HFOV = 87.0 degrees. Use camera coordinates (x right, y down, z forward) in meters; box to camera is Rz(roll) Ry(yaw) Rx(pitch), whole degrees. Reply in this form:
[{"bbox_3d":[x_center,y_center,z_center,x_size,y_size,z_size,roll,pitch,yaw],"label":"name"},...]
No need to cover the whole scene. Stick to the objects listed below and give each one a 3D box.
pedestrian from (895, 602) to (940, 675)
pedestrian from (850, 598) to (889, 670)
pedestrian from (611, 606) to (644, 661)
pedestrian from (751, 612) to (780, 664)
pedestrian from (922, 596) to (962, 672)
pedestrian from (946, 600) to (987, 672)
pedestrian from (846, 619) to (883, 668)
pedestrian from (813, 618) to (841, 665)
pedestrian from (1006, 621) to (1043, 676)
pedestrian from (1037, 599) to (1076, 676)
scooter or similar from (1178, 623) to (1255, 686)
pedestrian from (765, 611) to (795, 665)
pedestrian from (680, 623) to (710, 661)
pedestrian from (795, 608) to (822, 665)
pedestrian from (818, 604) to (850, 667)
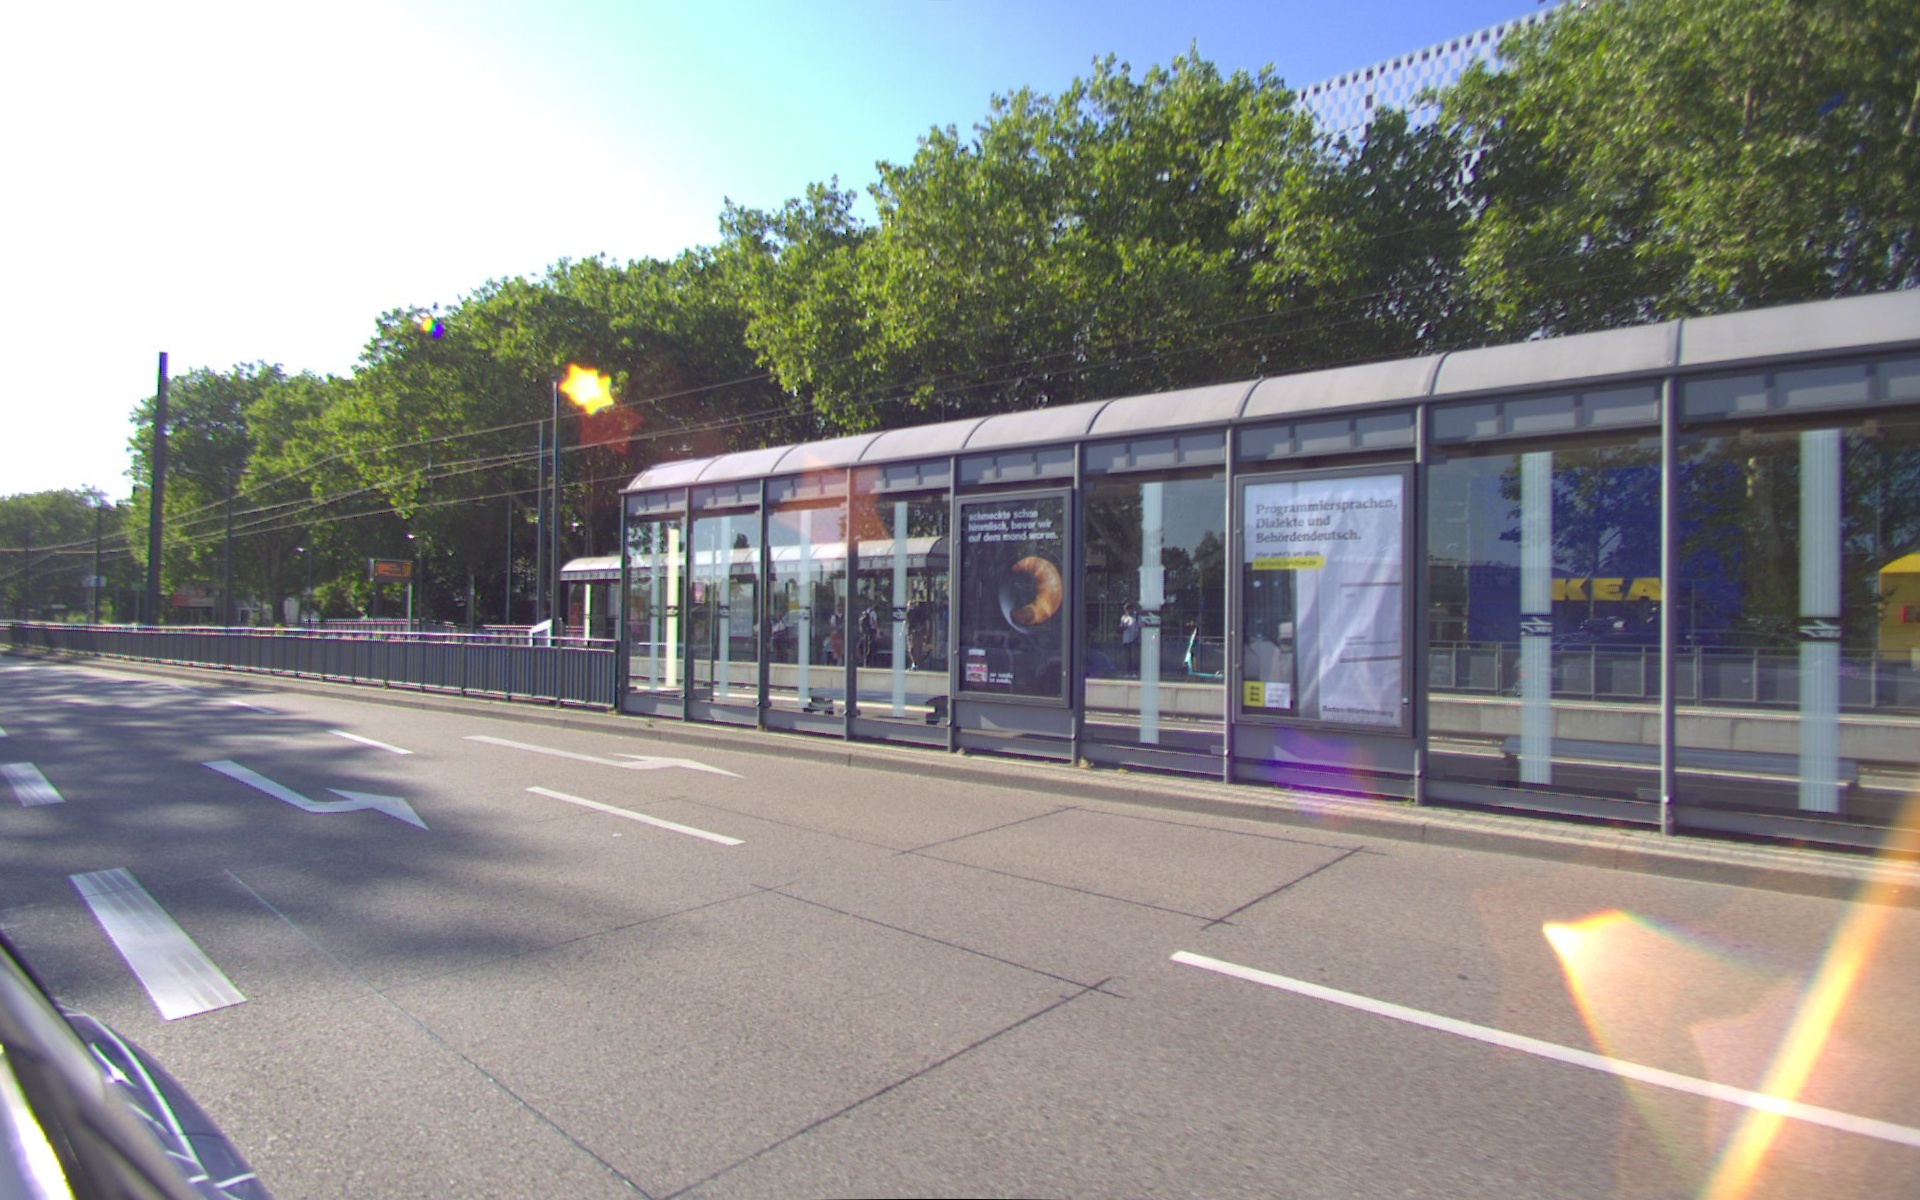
[{"bbox_3d":[-0.988,0.887,23.519,0.776,1.645,0.653,-1,0,40],"label":"pedestrian"},{"bbox_3d":[-2.265,0.845,25.328,0.684,1.755,0.647,-1,0,36],"label":"pedestrian"},{"bbox_3d":[-10.624,1.056,32.322,0.677,1.723,0.753,-1,-2,40],"label":"pedestrian"},{"bbox_3d":[-5.647,1.099,29.376,0.542,1.479,0.609,-1,-2,31],"label":"pedestrian"},{"bbox_3d":[-0.440,0.834,24.948,0.685,1.834,0.725,-1,0,33],"label":"pedestrian"},{"bbox_3d":[0.160,0.864,24.436,0.684,1.704,0.727,-1,0,29],"label":"pedestrian"},{"bbox_3d":[-2.519,1.130,26.627,0.684,1.262,0.647,-1,0,36],"label":"pedestrian"},{"bbox_3d":[-3.658,1.141,27.937,0.662,1.267,0.576,0,-2,5],"label":"pedestrian"},{"bbox_3d":[1.501,1.121,23.527,0.617,1.234,0.595,-1,-1,43],"label":"pedestrian"},{"bbox_3d":[2.224,0.852,23.376,0.635,1.732,0.644,-1,-1,43],"label":"pedestrian"},{"bbox_3d":[5.203,1.082,20.522,1.370,1.244,0.657,-1,-2,39],"label":"scooter or similar"},{"bbox_3d":[-5.136,1.082,28.902,0.574,1.503,0.665,-1,-2,26],"label":"pedestrian"},{"bbox_3d":[-8.283,1.305,31.623,0.623,1.171,0.671,-1,-2,37],"label":"pedestrian"},{"bbox_3d":[-4.274,1.021,28.517,0.568,1.589,0.489,1,-2,-43],"label":"pedestrian"},{"bbox_3d":[-3.338,0.939,26.835,0.568,1.648,0.644,1,-2,-43],"label":"pedestrian"}]
